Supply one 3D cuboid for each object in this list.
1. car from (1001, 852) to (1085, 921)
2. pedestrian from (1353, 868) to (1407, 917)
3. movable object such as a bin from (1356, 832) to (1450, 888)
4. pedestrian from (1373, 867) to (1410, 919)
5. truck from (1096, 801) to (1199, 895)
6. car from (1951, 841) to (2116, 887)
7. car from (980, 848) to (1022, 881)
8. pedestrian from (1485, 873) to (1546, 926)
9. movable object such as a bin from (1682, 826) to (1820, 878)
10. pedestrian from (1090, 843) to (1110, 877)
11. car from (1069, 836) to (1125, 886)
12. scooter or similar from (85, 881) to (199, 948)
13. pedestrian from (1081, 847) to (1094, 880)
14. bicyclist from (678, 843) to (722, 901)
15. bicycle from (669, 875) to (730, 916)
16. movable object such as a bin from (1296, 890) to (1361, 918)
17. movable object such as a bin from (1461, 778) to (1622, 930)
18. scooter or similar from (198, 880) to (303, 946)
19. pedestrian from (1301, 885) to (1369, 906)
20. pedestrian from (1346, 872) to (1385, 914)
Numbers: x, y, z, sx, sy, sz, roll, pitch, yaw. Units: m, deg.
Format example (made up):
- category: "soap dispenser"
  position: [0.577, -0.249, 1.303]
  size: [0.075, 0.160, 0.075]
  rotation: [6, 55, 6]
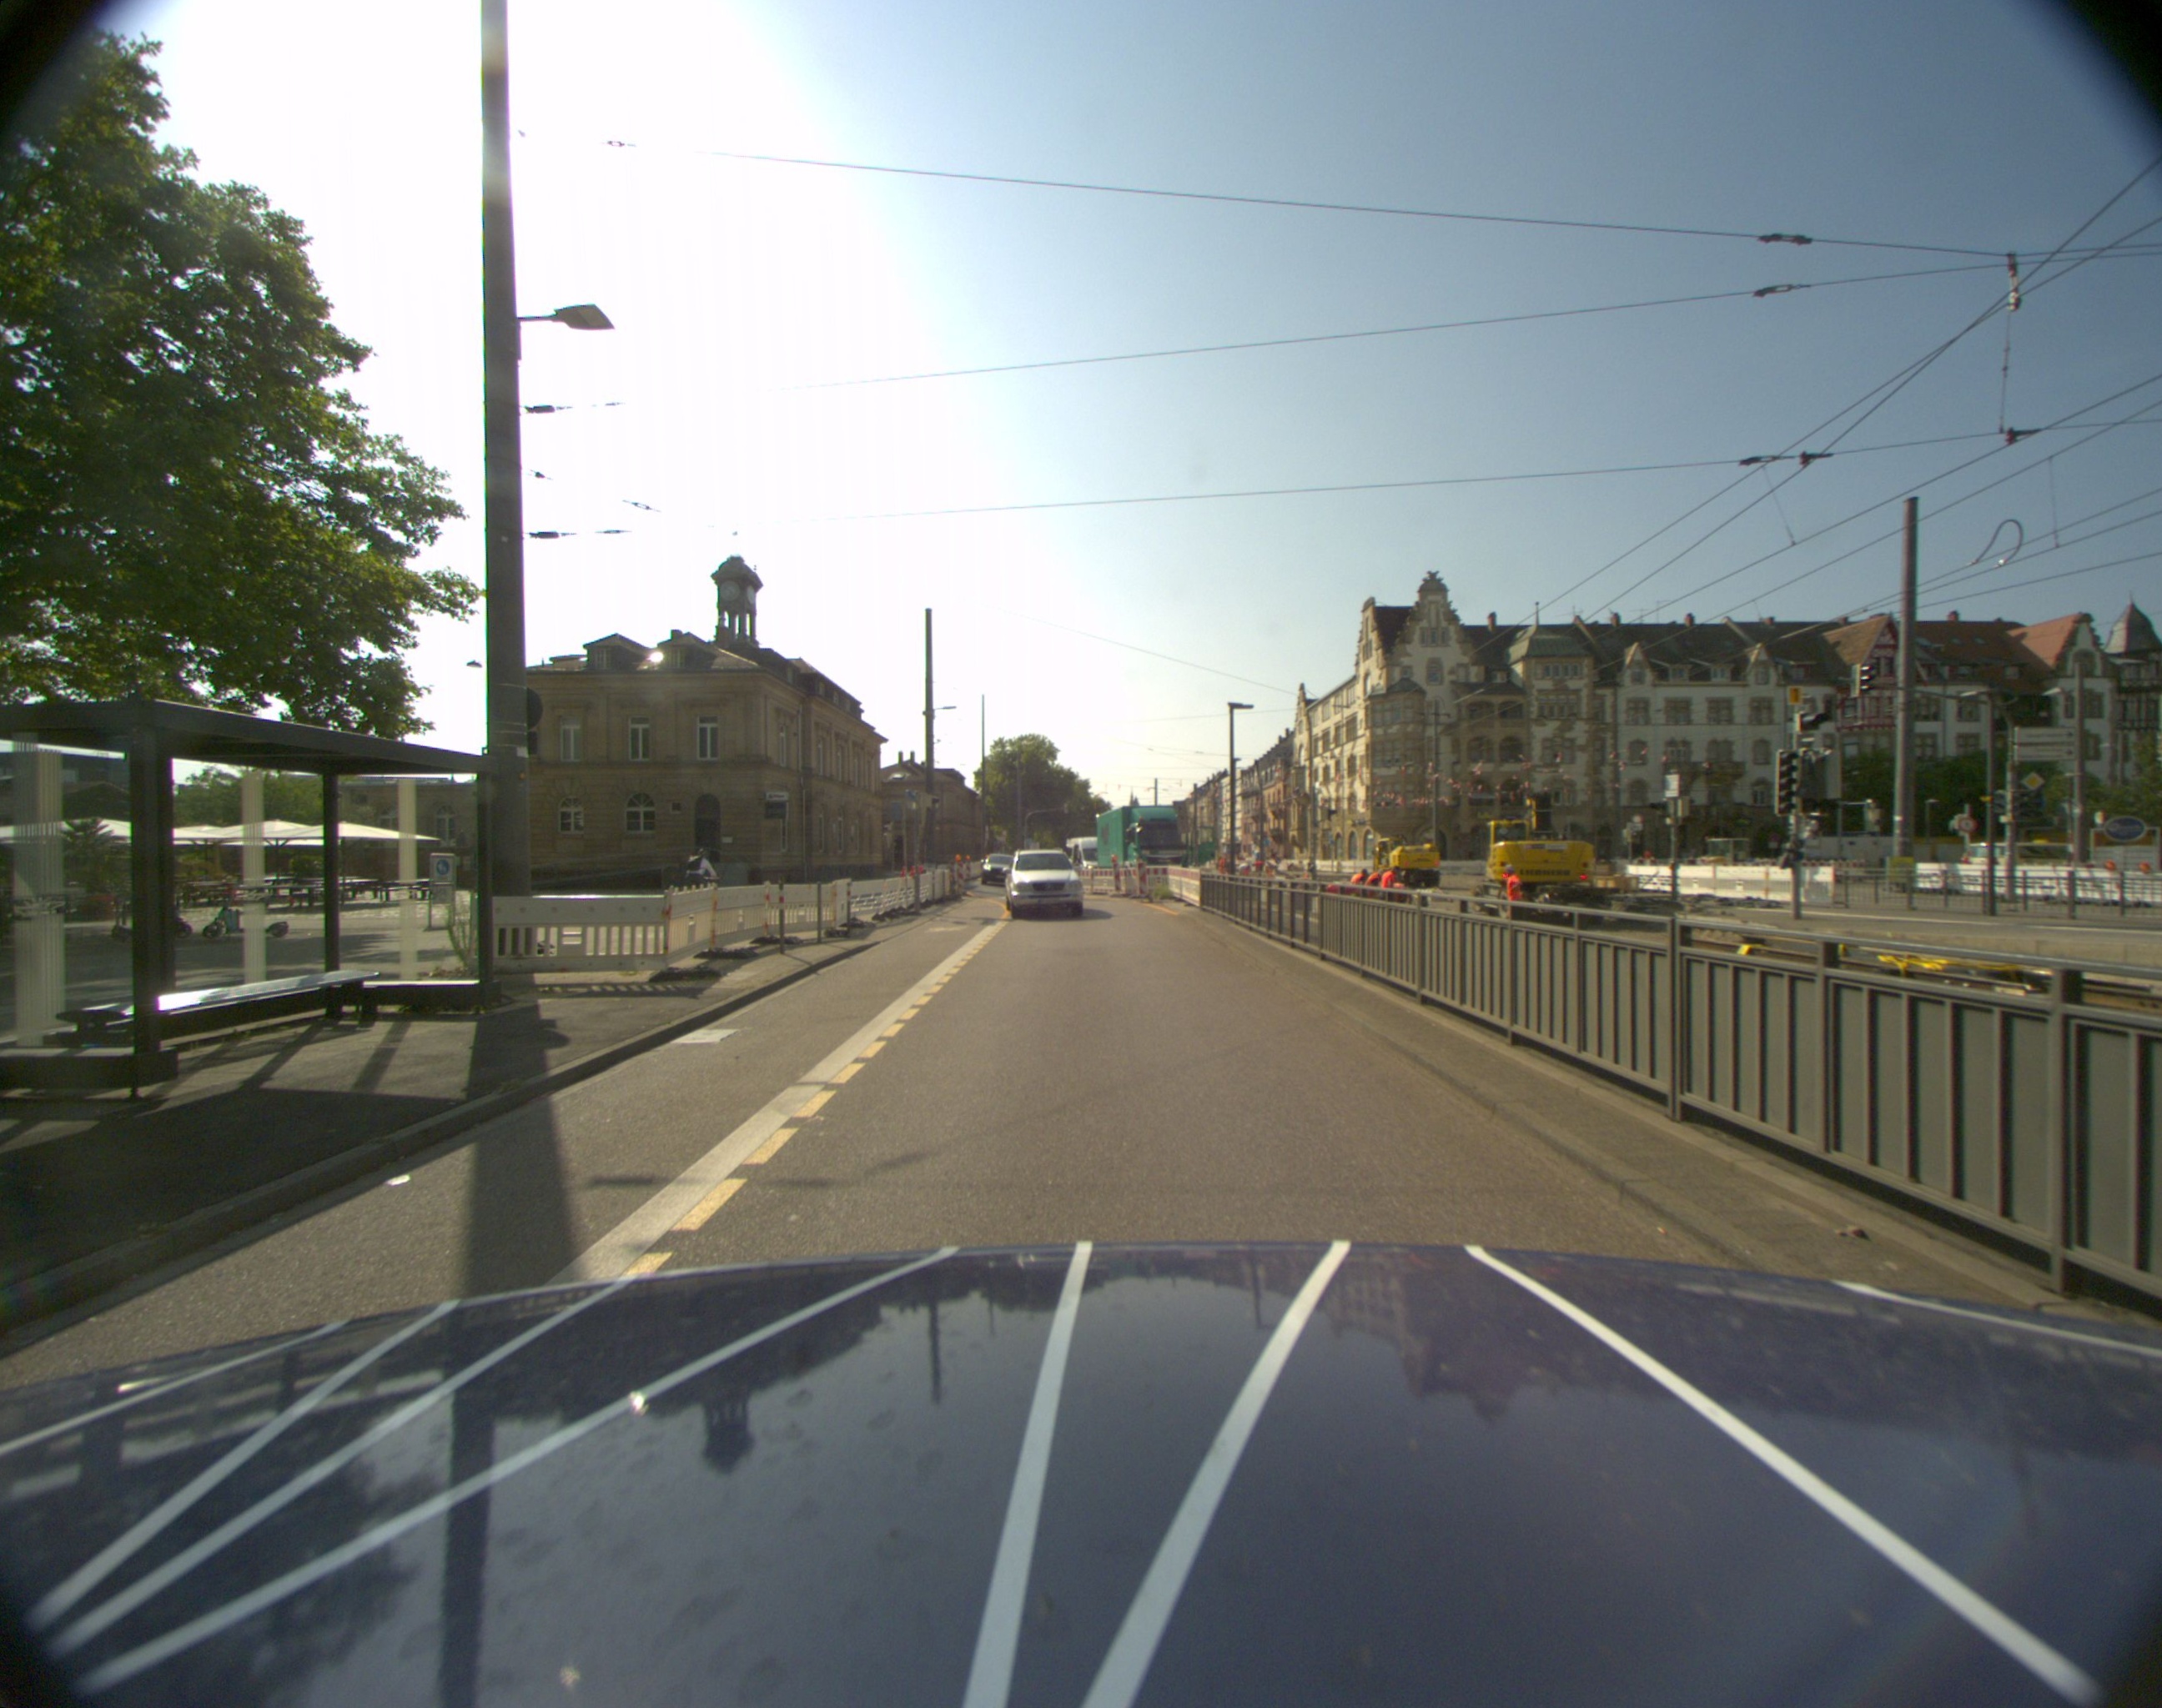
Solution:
- category: "car"
  position: [-1.193, 0.807, 21.236]
  size: [2.000, 1.685, 5.222]
  rotation: [0, 0, -7]
- category: "pedestrian"
  position: [8.169, 1.027, 20.753]
  size: [1.313, 1.299, 0.800]
  rotation: [0, 0, 25]
- category: "movable object such as a bin"
  position: [20.426, 0.349, 48.832]
  size: [2.853, 3.310, 8.347]
  rotation: [0, 0, 3]
- category: "pedestrian"
  position: [8.033, 0.980, 19.642]
  size: [0.838, 1.299, 0.800]
  rotation: [0, 0, 25]
- category: "truck"
  position: [2.699, -0.205, 33.805]
  size: [2.683, 3.656, 8.207]
  rotation: [0, 0, -9]
- category: "car"
  position: [42.445, 0.439, 33.941]
  size: [5.115, 2.018, 1.817]
  rotation: [0, 0, 0]
- category: "car"
  position: [-4.318, 0.565, 41.562]
  size: [1.999, 1.685, 5.224]
  rotation: [0, 0, -3]
- category: "pedestrian"
  position: [10.998, 1.133, 19.263]
  size: [1.017, 1.299, 0.983]
  rotation: [0, 0, 4]
- category: "movable object such as a bin"
  position: [36.331, -0.091, 41.305]
  size: [5.627, 2.723, 2.135]
  rotation: [0, 0, 0]
- category: "pedestrian"
  position: [0.973, 0.316, 38.346]
  size: [0.705, 1.684, 0.767]
  rotation: [0, 1, 37]
- category: "car"
  position: [0.841, 0.368, 43.960]
  size: [2.232, 2.713, 5.165]
  rotation: [0, 0, -11]
- category: "scooter or similar"
  position: [-17.386, 1.101, 14.096]
  size: [1.257, 1.202, 0.422]
  rotation: [1, -2, -24]
- category: "pedestrian"
  position: [0.416, 0.577, 46.908]
  size: [0.735, 2.002, 0.907]
  rotation: [0, 1, 6]
- category: "bicyclist"
  position: [-10.352, 0.488, 20.652]
  size: [0.719, 1.534, 0.955]
  rotation: [0, 0, -1]
- category: "bicycle"
  position: [-10.358, 1.109, 20.708]
  size: [0.719, 1.035, 1.903]
  rotation: [0, 0, -1]
- category: "movable object such as a bin"
  position: [6.244, 1.248, 19.180]
  size: [1.507, 0.648, 0.702]
  rotation: [0, 0, 22]
- category: "movable object such as a bin"
  position: [14.507, 0.050, 24.787]
  size: [3.506, 3.989, 9.058]
  rotation: [0, 0, 25]
- category: "scooter or similar"
  position: [-15.879, 1.104, 14.555]
  size: [0.421, 1.202, 1.258]
  rotation: [0, -2, 23]
- category: "pedestrian"
  position: [8.080, 1.309, 24.276]
  size: [1.906, 0.632, 0.913]
  rotation: [0, 0, 5]
- category: "pedestrian"
  position: [8.293, 1.131, 22.143]
  size: [0.983, 1.183, 0.800]
  rotation: [0, 0, 25]
